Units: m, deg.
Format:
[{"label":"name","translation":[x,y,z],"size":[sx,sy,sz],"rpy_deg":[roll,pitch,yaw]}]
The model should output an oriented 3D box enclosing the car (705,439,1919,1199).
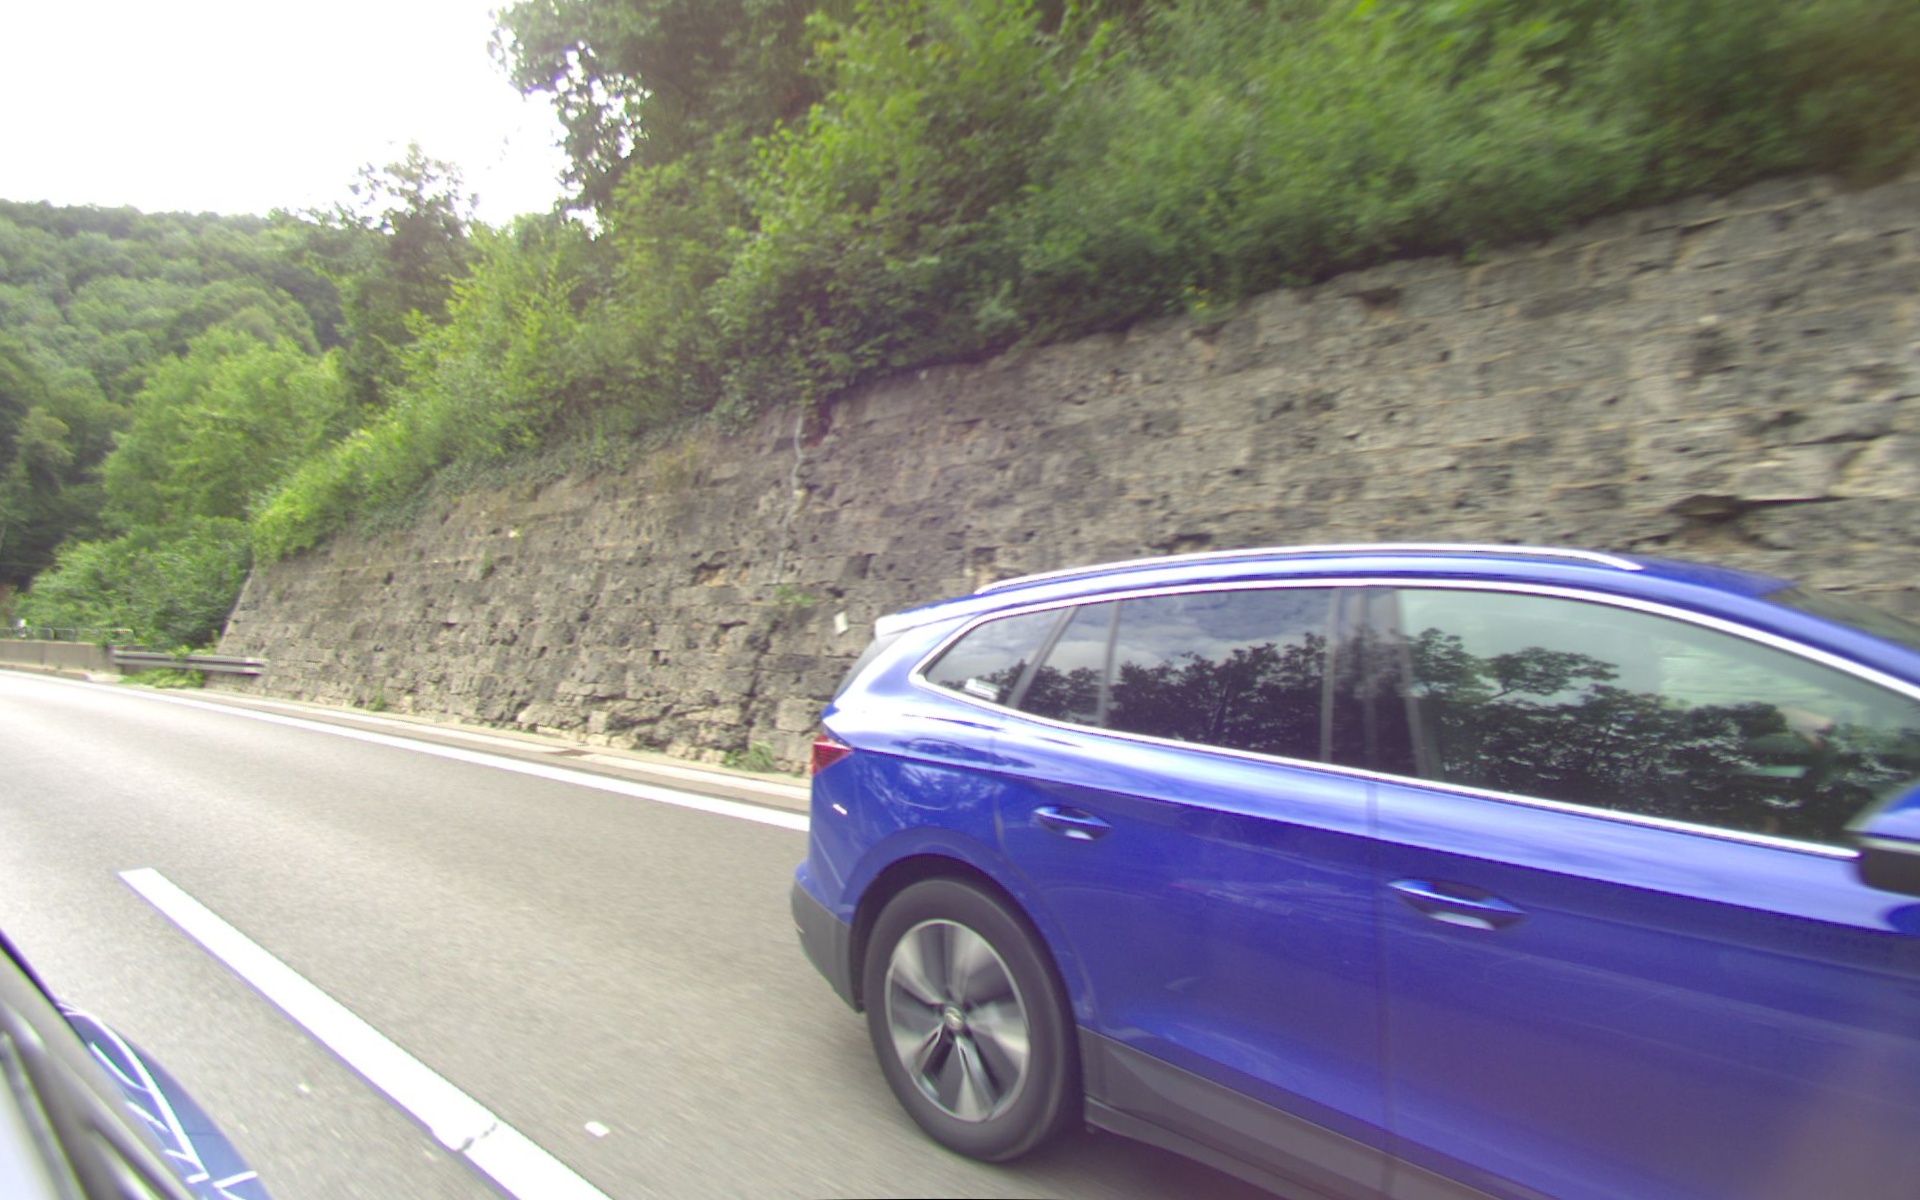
[{"label":"car","translation":[1.661,0.603,2.418],"size":[5.007,1.644,1.972],"rpy_deg":[-1,-1,42]}]
